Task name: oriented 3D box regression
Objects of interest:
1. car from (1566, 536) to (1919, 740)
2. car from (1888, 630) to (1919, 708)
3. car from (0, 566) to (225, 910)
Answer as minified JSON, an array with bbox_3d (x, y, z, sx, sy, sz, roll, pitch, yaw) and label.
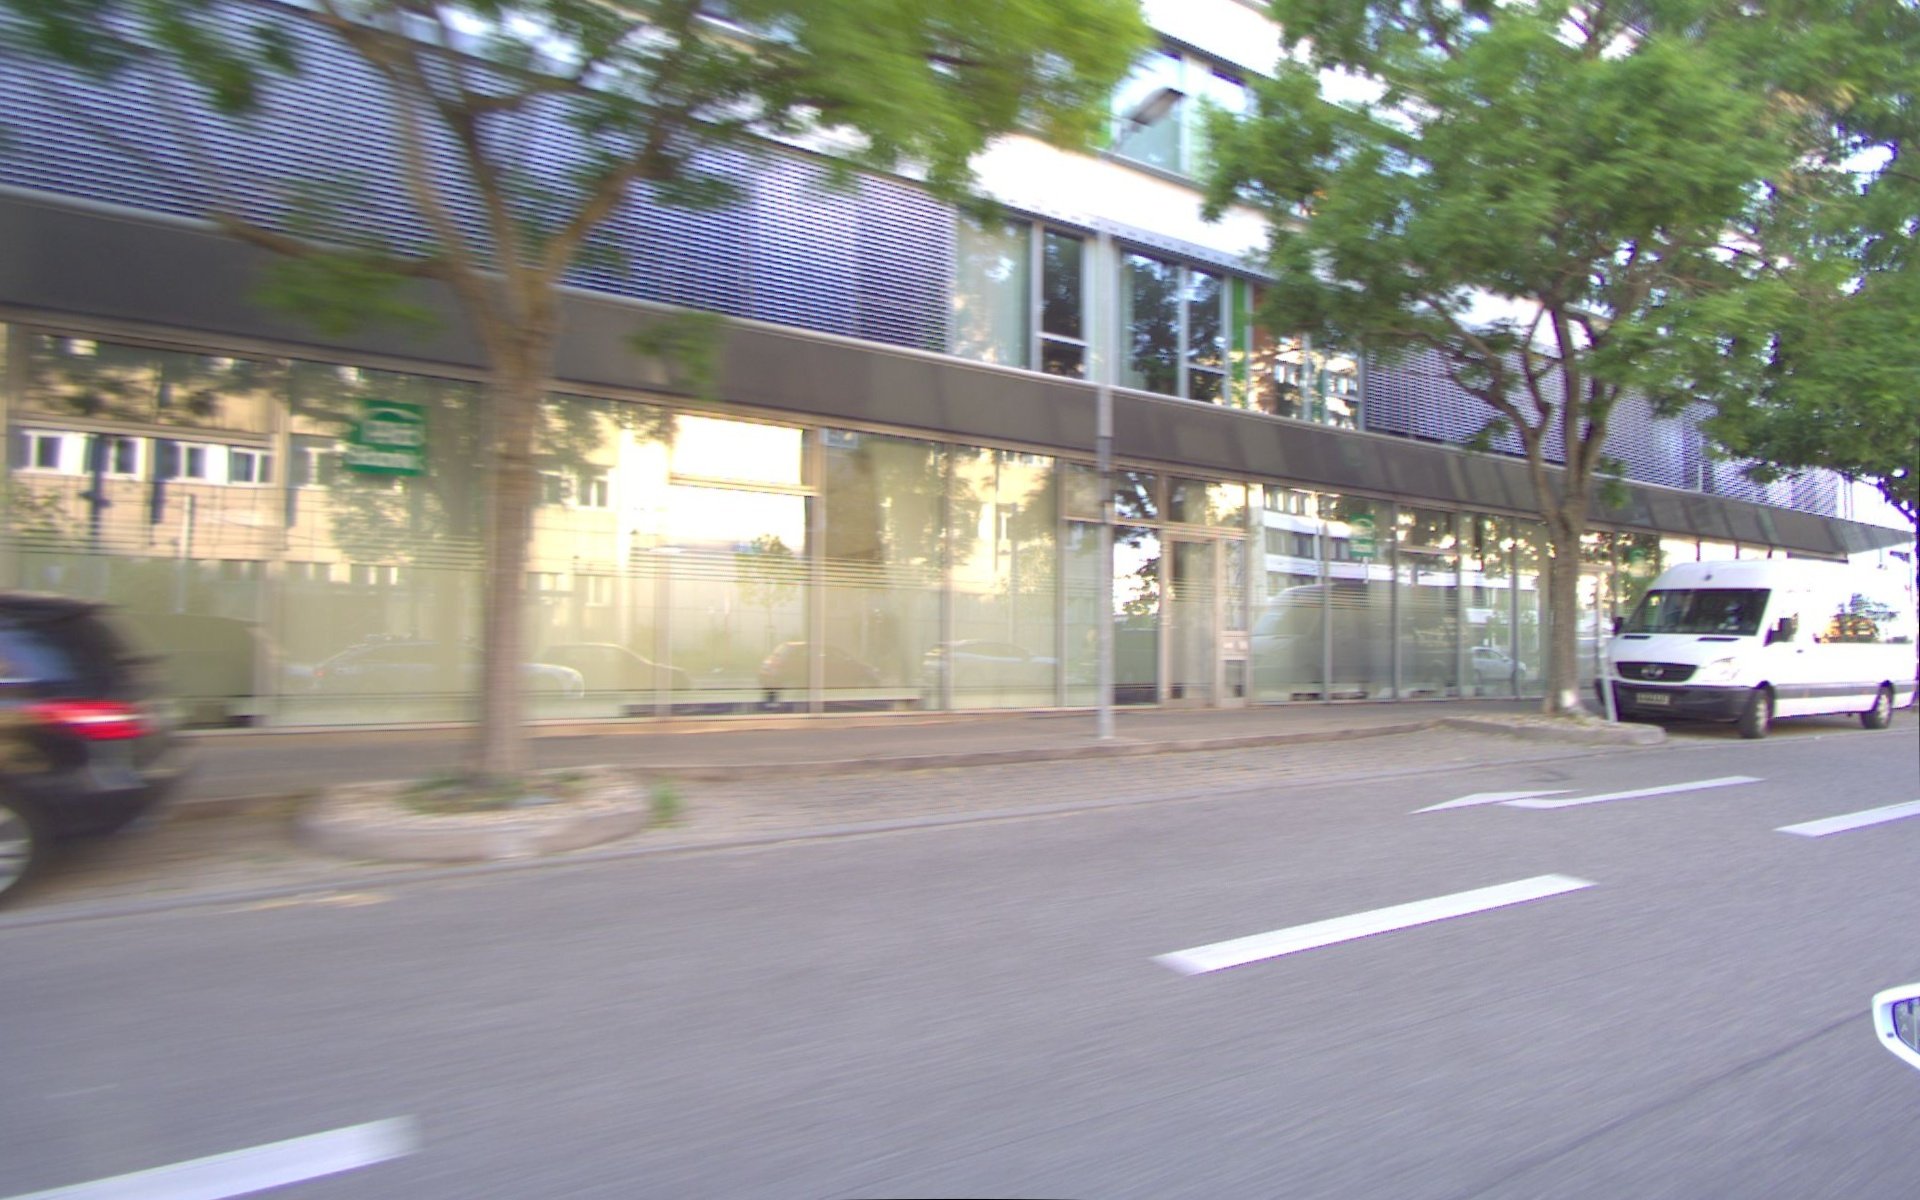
[{"bbox_3d":[12.606,0.616,15.955,6.869,2.699,2.091,2,-2,-30],"label":"car"},{"bbox_3d":[21.654,1.467,21.238,4.217,1.592,1.835,2,-2,-30],"label":"car"},{"bbox_3d":[-6.188,0.590,4.555,4.419,1.589,1.582,2,1,-31],"label":"car"}]
